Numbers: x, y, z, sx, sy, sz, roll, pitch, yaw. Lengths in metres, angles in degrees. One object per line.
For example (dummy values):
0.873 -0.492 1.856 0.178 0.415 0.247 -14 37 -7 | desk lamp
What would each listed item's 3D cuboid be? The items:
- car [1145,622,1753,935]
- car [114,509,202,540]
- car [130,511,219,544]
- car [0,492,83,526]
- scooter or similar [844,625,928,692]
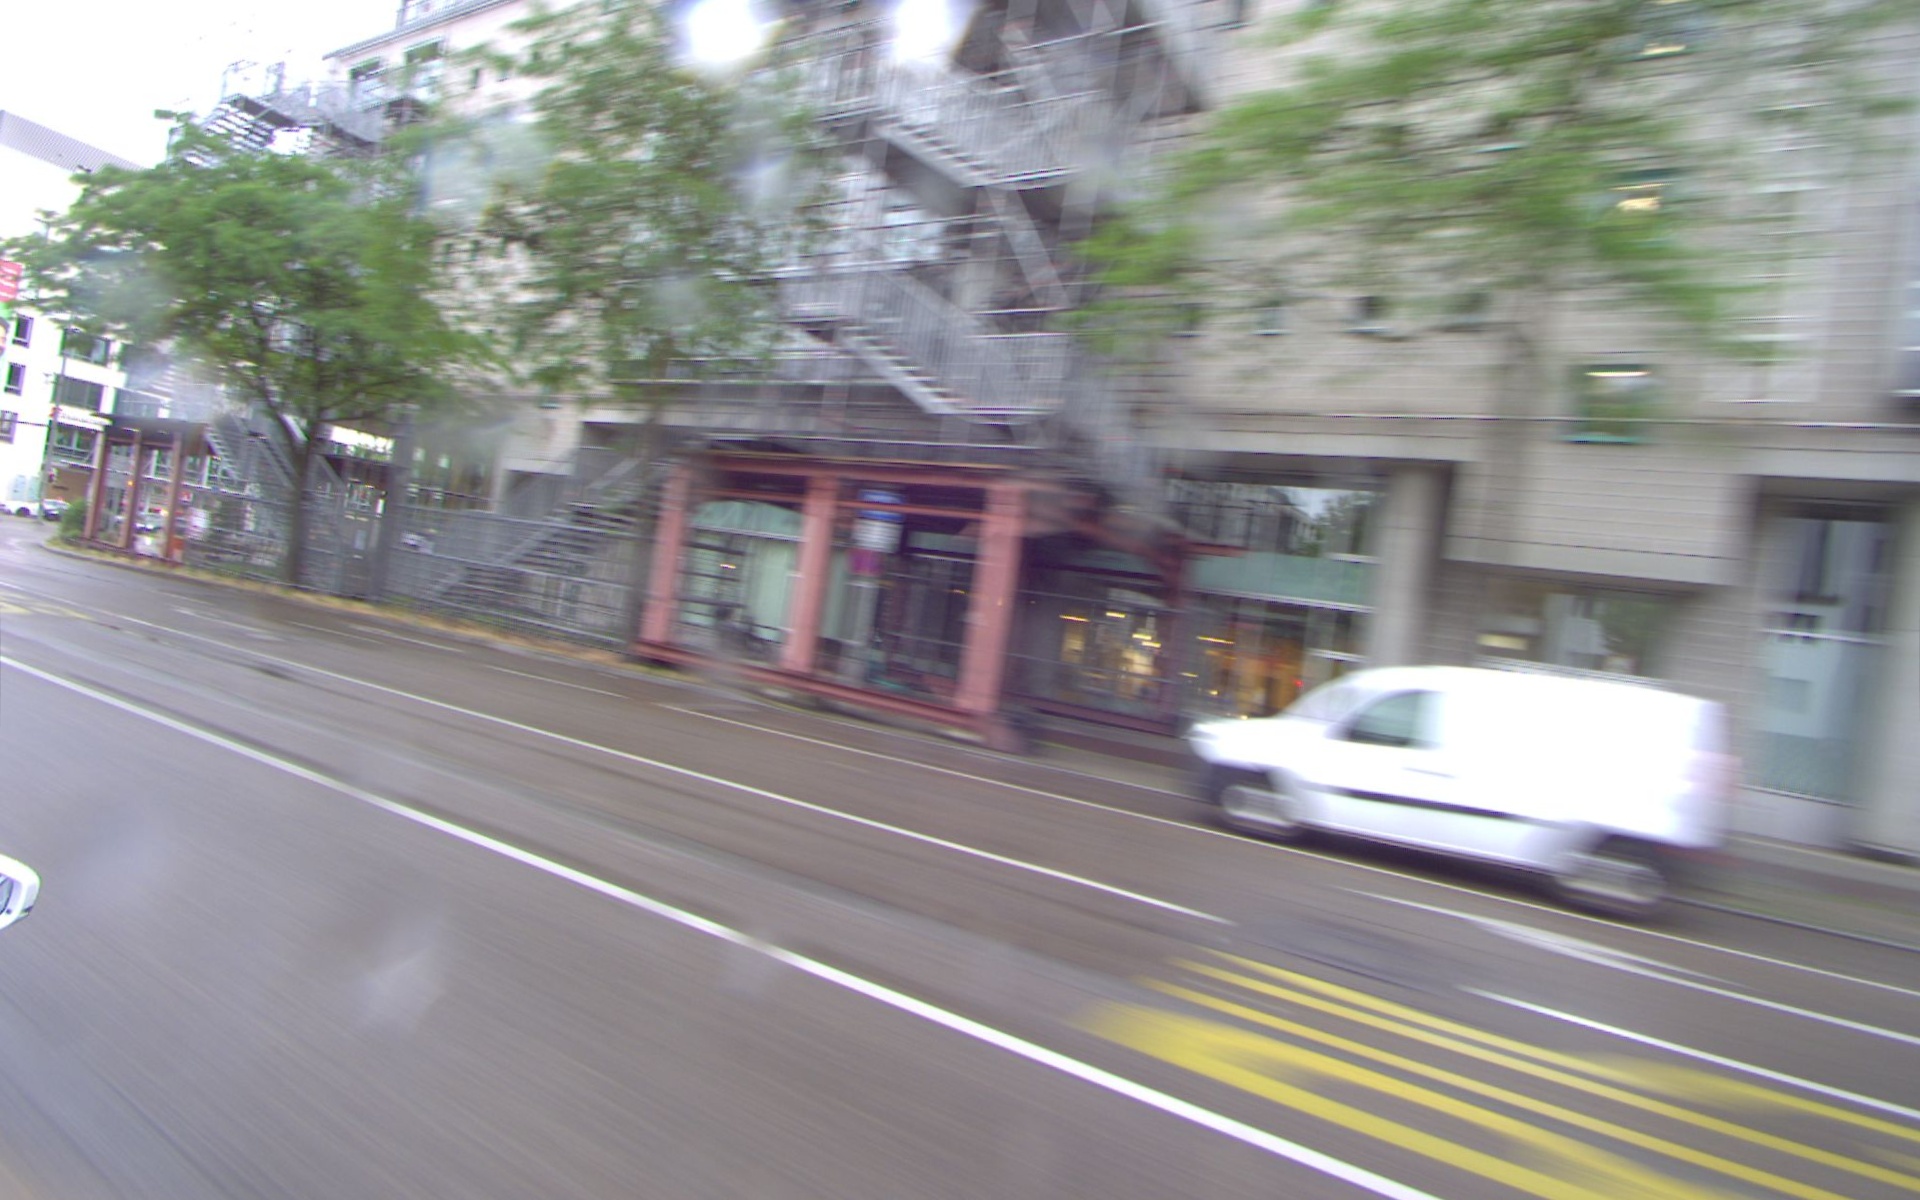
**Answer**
4.277 1.416 9.332 4.451 1.770 1.997 7 -1 32 | car
-55.553 -5.236 69.770 1.690 1.364 4.469 7 -1 17 | car
-53.096 -4.893 68.100 1.691 1.481 4.468 7 -1 19 | car
-65.470 -6.456 71.362 1.962 1.616 4.469 7 -1 17 | car
-1.534 1.200 20.708 1.522 1.175 0.632 7 -1 32 | scooter or similar
